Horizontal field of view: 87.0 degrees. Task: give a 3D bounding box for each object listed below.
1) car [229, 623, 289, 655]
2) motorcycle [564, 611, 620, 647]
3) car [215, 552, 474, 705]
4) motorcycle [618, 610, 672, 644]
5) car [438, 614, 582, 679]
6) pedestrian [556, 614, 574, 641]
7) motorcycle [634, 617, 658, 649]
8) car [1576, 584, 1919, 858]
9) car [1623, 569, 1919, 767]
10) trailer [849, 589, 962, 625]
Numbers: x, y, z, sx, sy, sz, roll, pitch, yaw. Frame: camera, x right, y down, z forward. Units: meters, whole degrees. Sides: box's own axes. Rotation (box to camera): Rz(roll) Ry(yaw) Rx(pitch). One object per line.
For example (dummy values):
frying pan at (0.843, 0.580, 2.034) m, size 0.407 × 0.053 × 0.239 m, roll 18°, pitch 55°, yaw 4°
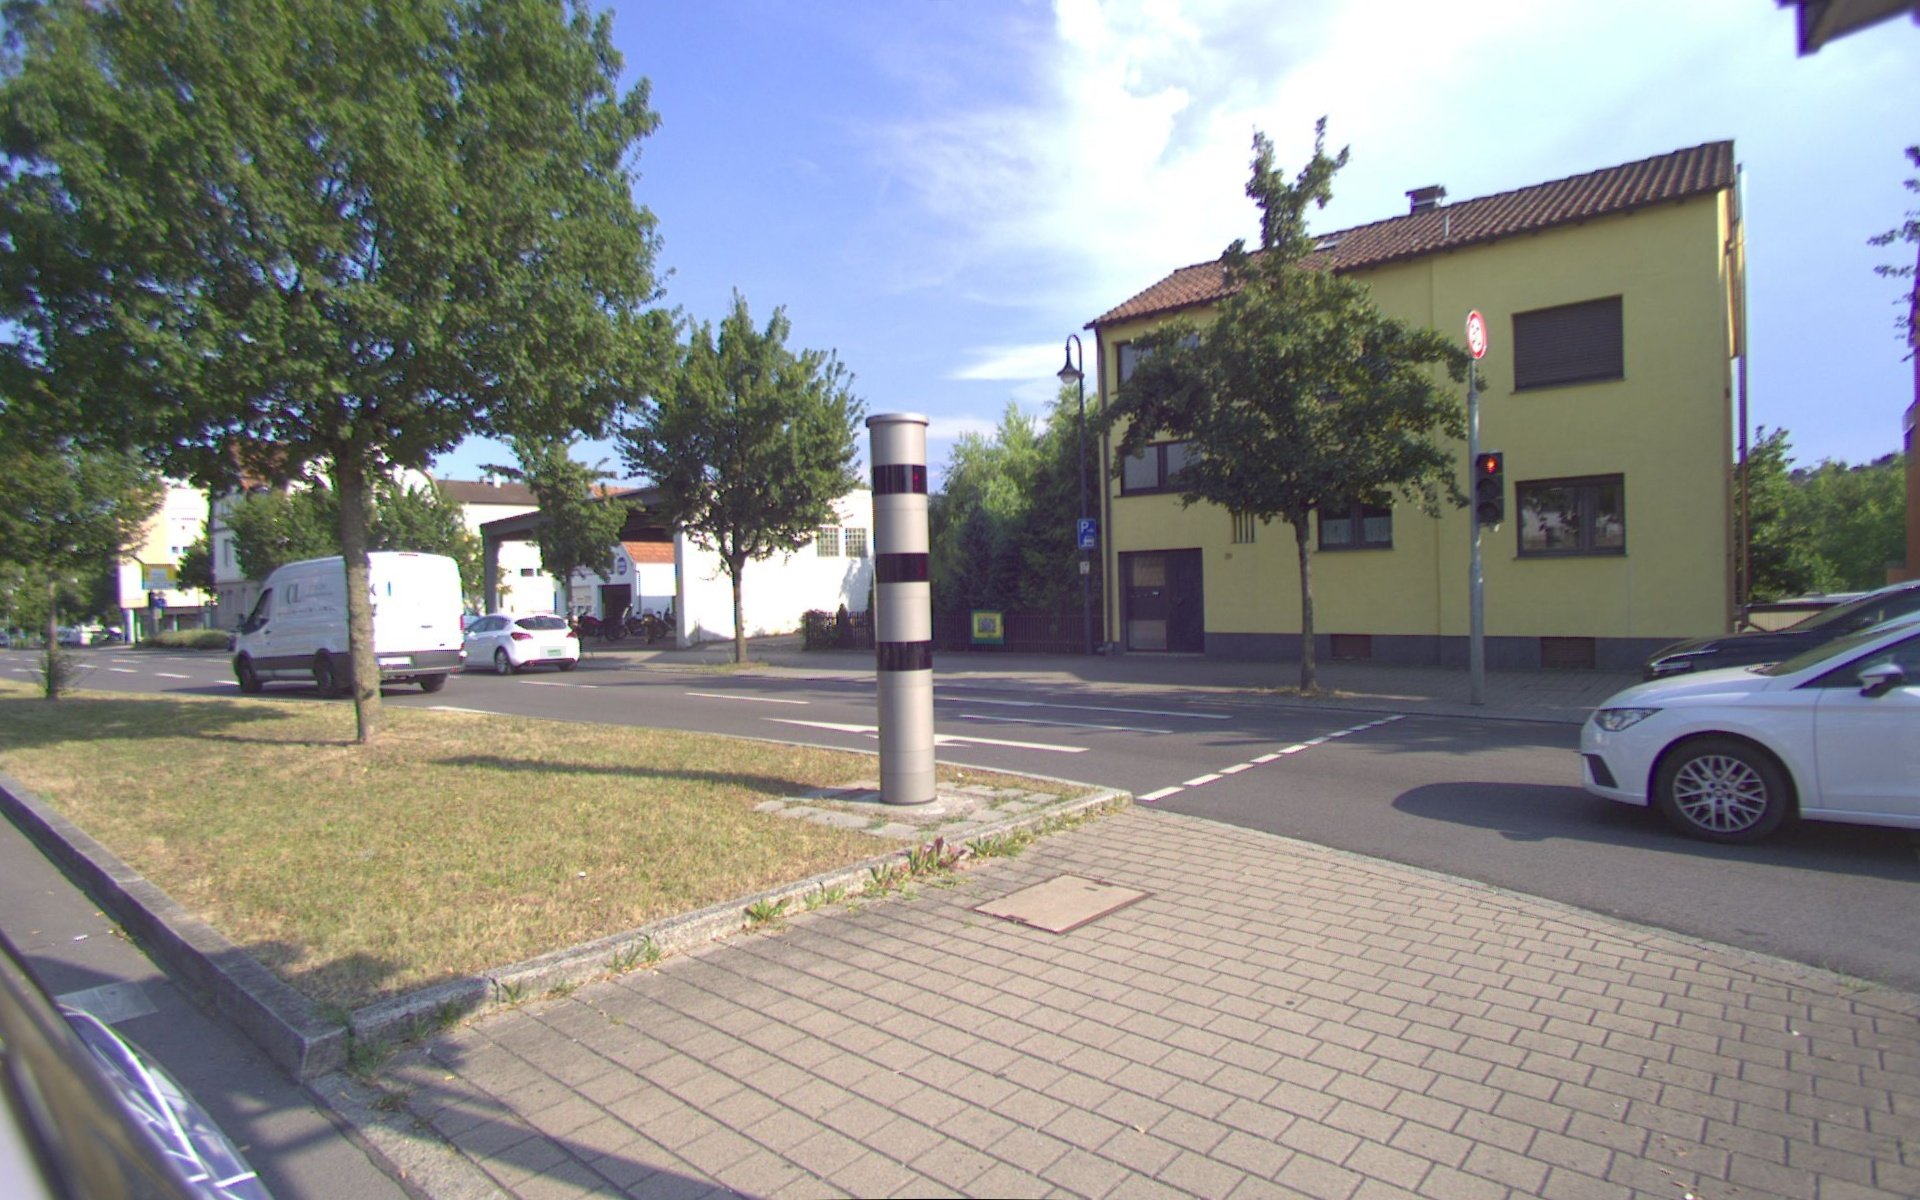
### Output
car at (-33.585, 1.853, 48.478) m, size 3.432 × 1.327 × 1.651 m, roll -1°, pitch 3°, yaw 44°
motorcycle at (-14.592, 1.162, 40.106) m, size 2.095 × 1.332 × 0.487 m, roll -2°, pitch -1°, yaw 10°
car at (-11.577, 0.511, 18.887) m, size 5.465 × 2.494 × 2.067 m, roll -1°, pitch 0°, yaw 34°
motorcycle at (-13.005, 1.120, 41.732) m, size 2.094 × 1.332 × 0.487 m, roll -2°, pitch -1°, yaw 8°
car at (-11.136, 1.108, 24.905) m, size 4.213 × 1.424 × 1.673 m, roll -2°, pitch 0°, yaw 42°
pedestrian at (-20.143, 1.418, 51.600) m, size 0.583 × 1.350 × 0.590 m, roll -2°, pitch 0°, yaw 33°
motorcycle at (-11.488, 1.176, 37.076) m, size 0.542 × 1.107 × 2.052 m, roll -2°, pitch 0°, yaw -10°
car at (5.898, 0.609, 5.628) m, size 3.997 × 1.422 × 1.739 m, roll -1°, pitch 0°, yaw 40°
car at (8.568, 0.538, 8.780) m, size 4.460 × 1.607 × 1.835 m, roll -2°, pitch 0°, yaw 43°
trailer at (-1.936, 0.245, 35.972) m, size 3.312 × 1.121 × 2.173 m, roll -3°, pitch 1°, yaw -34°
